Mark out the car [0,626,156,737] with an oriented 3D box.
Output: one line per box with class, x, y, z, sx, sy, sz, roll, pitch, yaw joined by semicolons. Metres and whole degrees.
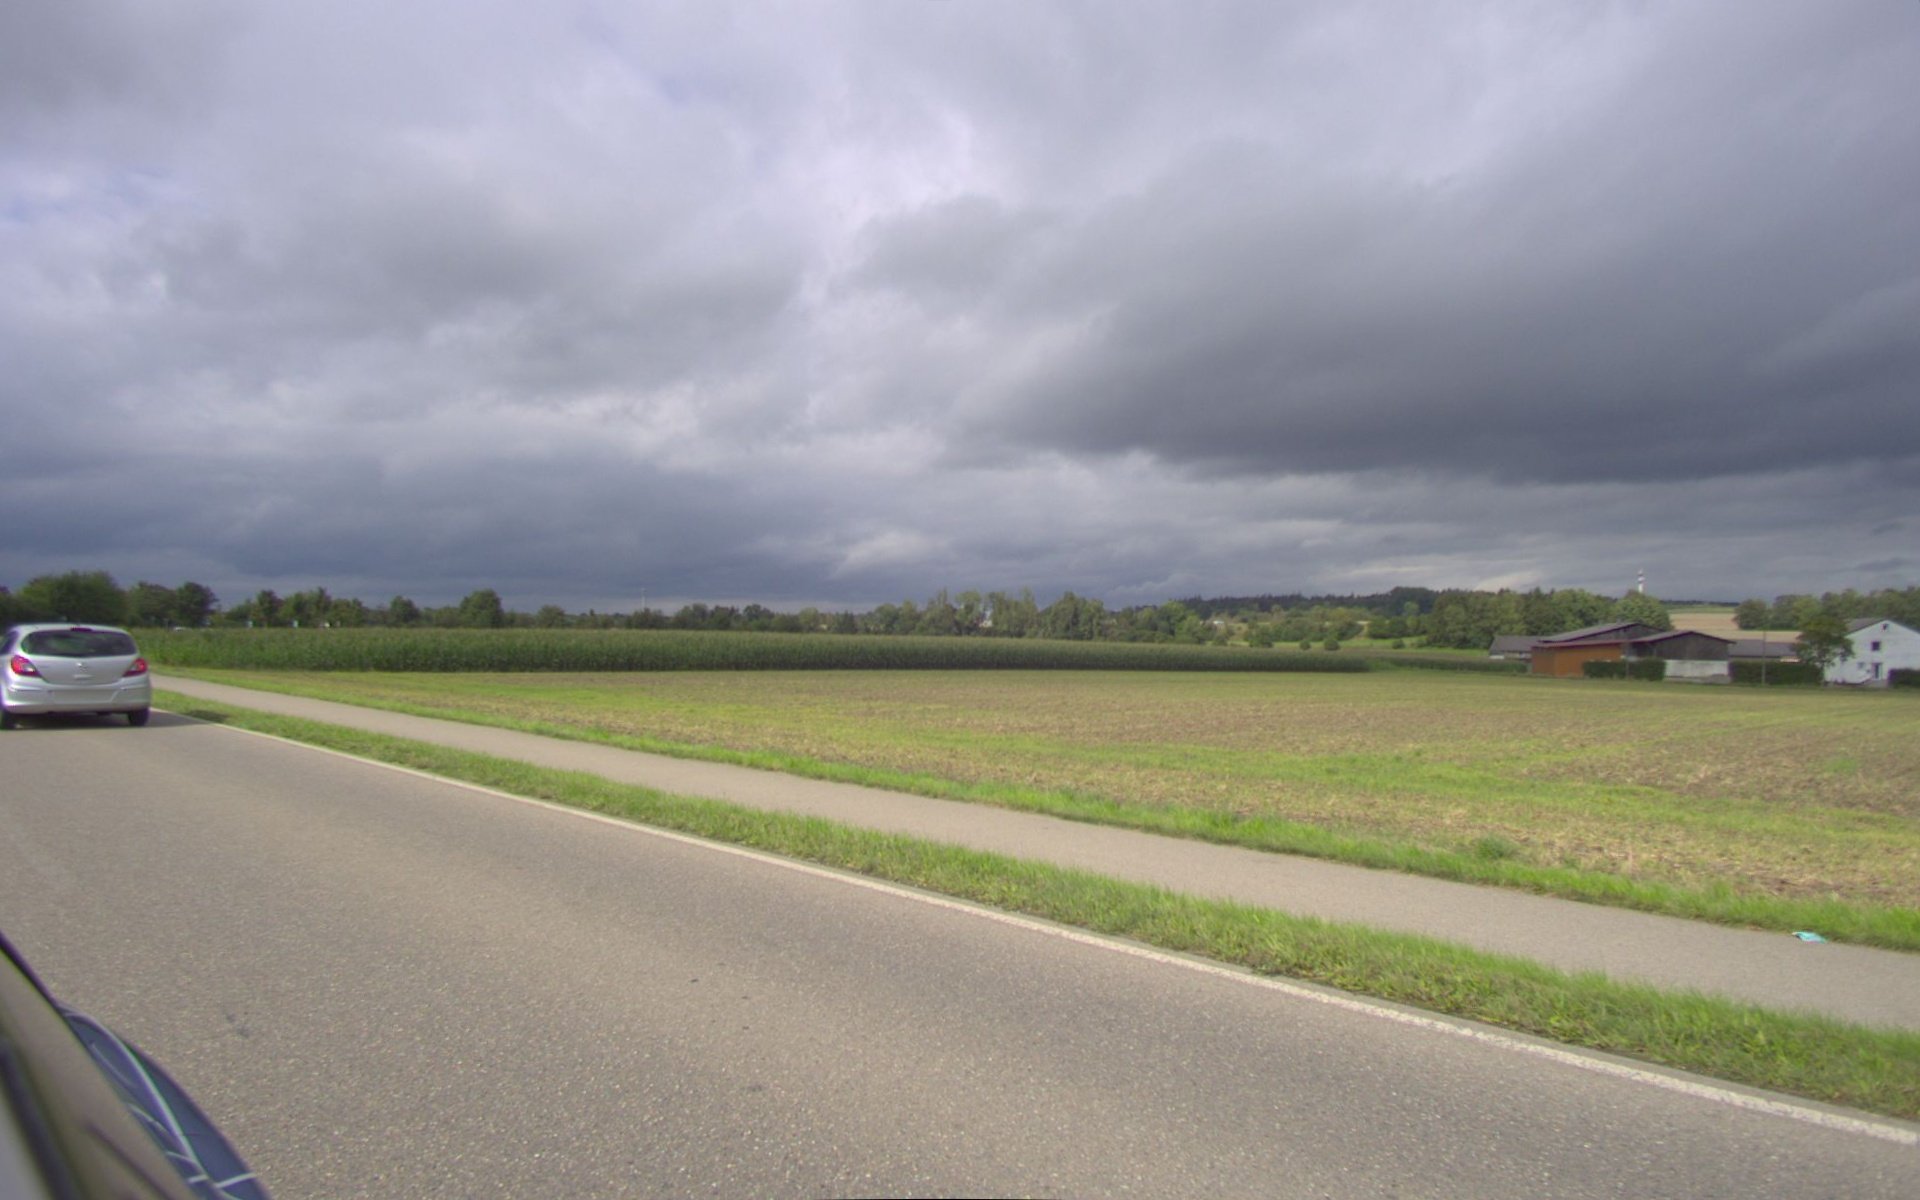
car;-13.522;1.131;15.163;3.541;1.470;1.677;-1;-3;41
